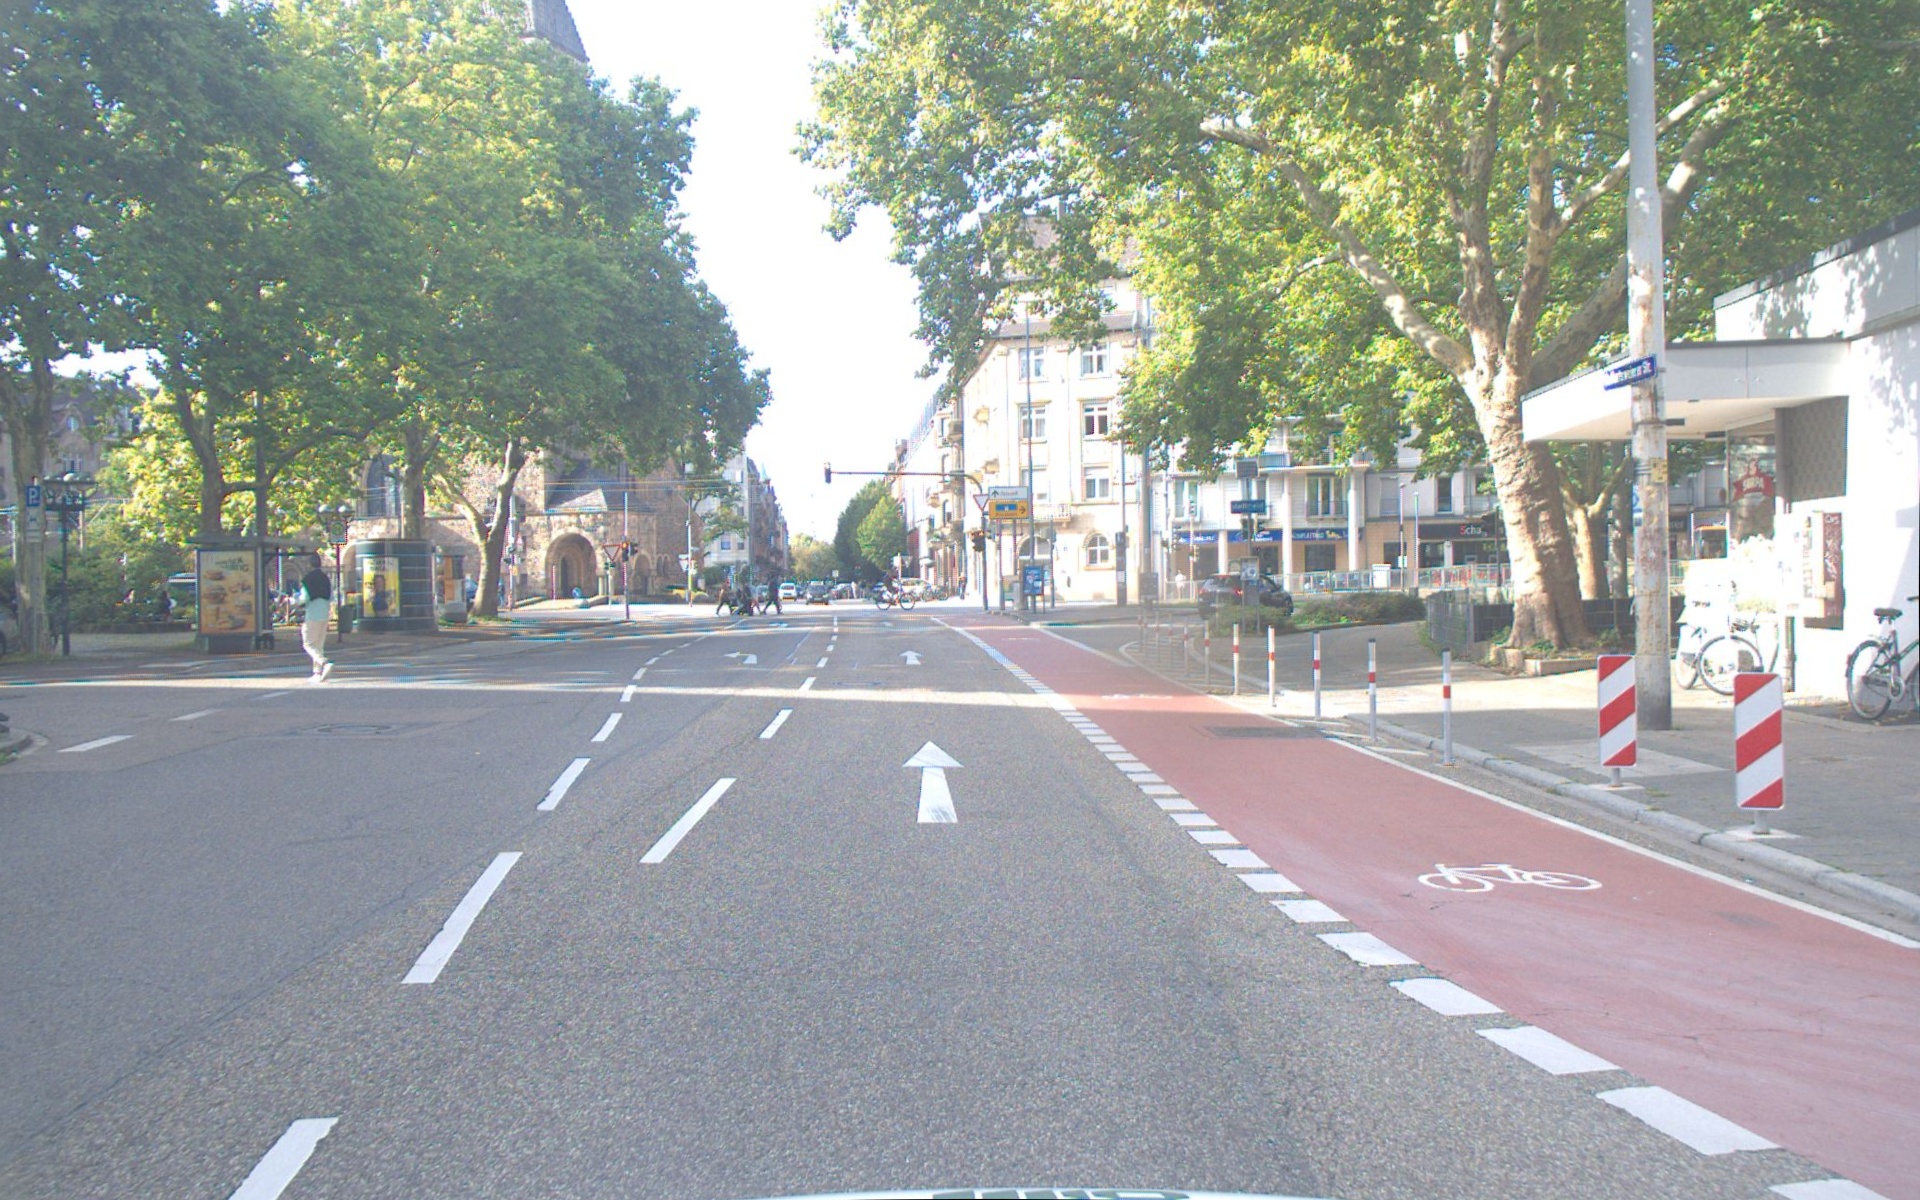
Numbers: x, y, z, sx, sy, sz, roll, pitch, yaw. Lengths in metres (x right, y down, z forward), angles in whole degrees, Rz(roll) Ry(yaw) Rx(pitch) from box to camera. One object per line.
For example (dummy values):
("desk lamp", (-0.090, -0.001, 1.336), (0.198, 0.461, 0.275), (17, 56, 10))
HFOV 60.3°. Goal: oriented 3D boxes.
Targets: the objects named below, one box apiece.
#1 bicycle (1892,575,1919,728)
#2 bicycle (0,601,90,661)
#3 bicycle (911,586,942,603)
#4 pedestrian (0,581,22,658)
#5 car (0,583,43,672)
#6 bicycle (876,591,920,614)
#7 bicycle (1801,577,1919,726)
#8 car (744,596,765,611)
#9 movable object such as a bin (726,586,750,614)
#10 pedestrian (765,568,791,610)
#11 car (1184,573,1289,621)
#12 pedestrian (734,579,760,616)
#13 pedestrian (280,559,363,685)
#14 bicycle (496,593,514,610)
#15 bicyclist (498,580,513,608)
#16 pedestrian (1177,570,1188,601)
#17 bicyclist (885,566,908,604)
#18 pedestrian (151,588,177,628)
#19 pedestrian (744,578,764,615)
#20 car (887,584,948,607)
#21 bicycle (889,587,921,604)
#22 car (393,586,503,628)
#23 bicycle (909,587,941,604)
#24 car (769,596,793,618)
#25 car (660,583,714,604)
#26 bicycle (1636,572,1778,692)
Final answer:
("bicycle", (8.086, 0.411, 12.777), (0.753, 1.227, 1.816), (-2, 1, 2))
("bicycle", (-19.729, 0.667, 34.858), (1.360, 1.230, 2.103), (-1, -2, 19))
("bicycle", (-2.213, -0.354, 109.264), (1.988, 1.101, 0.618), (-1, 1, -14))
("pedestrian", (-21.890, 0.449, 37.782), (0.490, 1.745, 0.706), (-1, 0, -3))
("car", (-18.785, 0.549, 28.865), (2.186, 1.613, 4.979), (-1, 1, 10))
("bicycle", (-2.631, 0.104, 70.001), (1.792, 0.972, 0.573), (-1, 0, 22))
("bicycle", (8.200, 0.413, 14.601), (0.696, 1.227, 1.771), (-1, 1, 2))
("car", (-17.883, 0.311, 143.988), (1.519, 1.251, 3.586), (0, 1, -2))
("movable object such as a bin", (-9.081, -0.012, 67.669), (0.820, 1.143, 0.575), (-1, 0, 19))
("pedestrian", (-7.464, -0.443, 67.785), (0.764, 1.691, 0.779), (-1, 1, 18))
("car", (8.664, -0.110, 51.554), (1.721, 1.438, 3.987), (0, 1, 34))
("pedestrian", (-8.549, -0.096, 66.422), (0.764, 1.457, 0.731), (-1, 1, 19))
("pedestrian", (-9.264, 0.303, 24.026), (1.057, 1.784, 0.915), (0, 0, -17))
("bicycle", (-27.269, 0.085, 99.120), (0.623, 0.997, 1.924), (-1, 1, -2))
("bicyclist", (-27.288, -0.375, 99.307), (0.709, 1.691, 0.719), (-1, 0, -3))
("pedestrian", (12.628, -0.850, 93.980), (0.485, 1.744, 0.527), (1, 0, 20))
("bicyclist", (-2.702, -0.627, 70.001), (0.762, 1.607, 0.625), (-1, 0, 21))
("pedestrian", (-26.103, 0.262, 54.251), (0.713, 1.311, 0.810), (1, 0, -30))
("pedestrian", (-8.356, -0.141, 67.033), (0.641, 1.457, 0.499), (-1, 1, 18))
("car", (-2.901, -0.285, 111.582), (3.912, 1.445, 1.997), (-1, 0, -8))
("bicycle", (-3.646, -0.293, 109.220), (1.988, 1.101, 0.618), (-1, 1, -14))
("car", (-24.999, 0.342, 80.806), (4.740, 1.903, 2.033), (-1, 1, 15))
("bicycle", (-2.327, -0.283, 109.929), (1.988, 1.101, 0.628), (-1, 1, -14))
("car", (-17.615, 0.677, 162.560), (1.953, 2.049, 3.999), (-1, 1, -1))
("car", (-22.175, -0.538, 134.265), (3.969, 1.624, 1.839), (-2, 1, -44))
("bicycle", (8.267, 0.339, 18.402), (0.697, 1.227, 1.816), (-4, 0, 1))
